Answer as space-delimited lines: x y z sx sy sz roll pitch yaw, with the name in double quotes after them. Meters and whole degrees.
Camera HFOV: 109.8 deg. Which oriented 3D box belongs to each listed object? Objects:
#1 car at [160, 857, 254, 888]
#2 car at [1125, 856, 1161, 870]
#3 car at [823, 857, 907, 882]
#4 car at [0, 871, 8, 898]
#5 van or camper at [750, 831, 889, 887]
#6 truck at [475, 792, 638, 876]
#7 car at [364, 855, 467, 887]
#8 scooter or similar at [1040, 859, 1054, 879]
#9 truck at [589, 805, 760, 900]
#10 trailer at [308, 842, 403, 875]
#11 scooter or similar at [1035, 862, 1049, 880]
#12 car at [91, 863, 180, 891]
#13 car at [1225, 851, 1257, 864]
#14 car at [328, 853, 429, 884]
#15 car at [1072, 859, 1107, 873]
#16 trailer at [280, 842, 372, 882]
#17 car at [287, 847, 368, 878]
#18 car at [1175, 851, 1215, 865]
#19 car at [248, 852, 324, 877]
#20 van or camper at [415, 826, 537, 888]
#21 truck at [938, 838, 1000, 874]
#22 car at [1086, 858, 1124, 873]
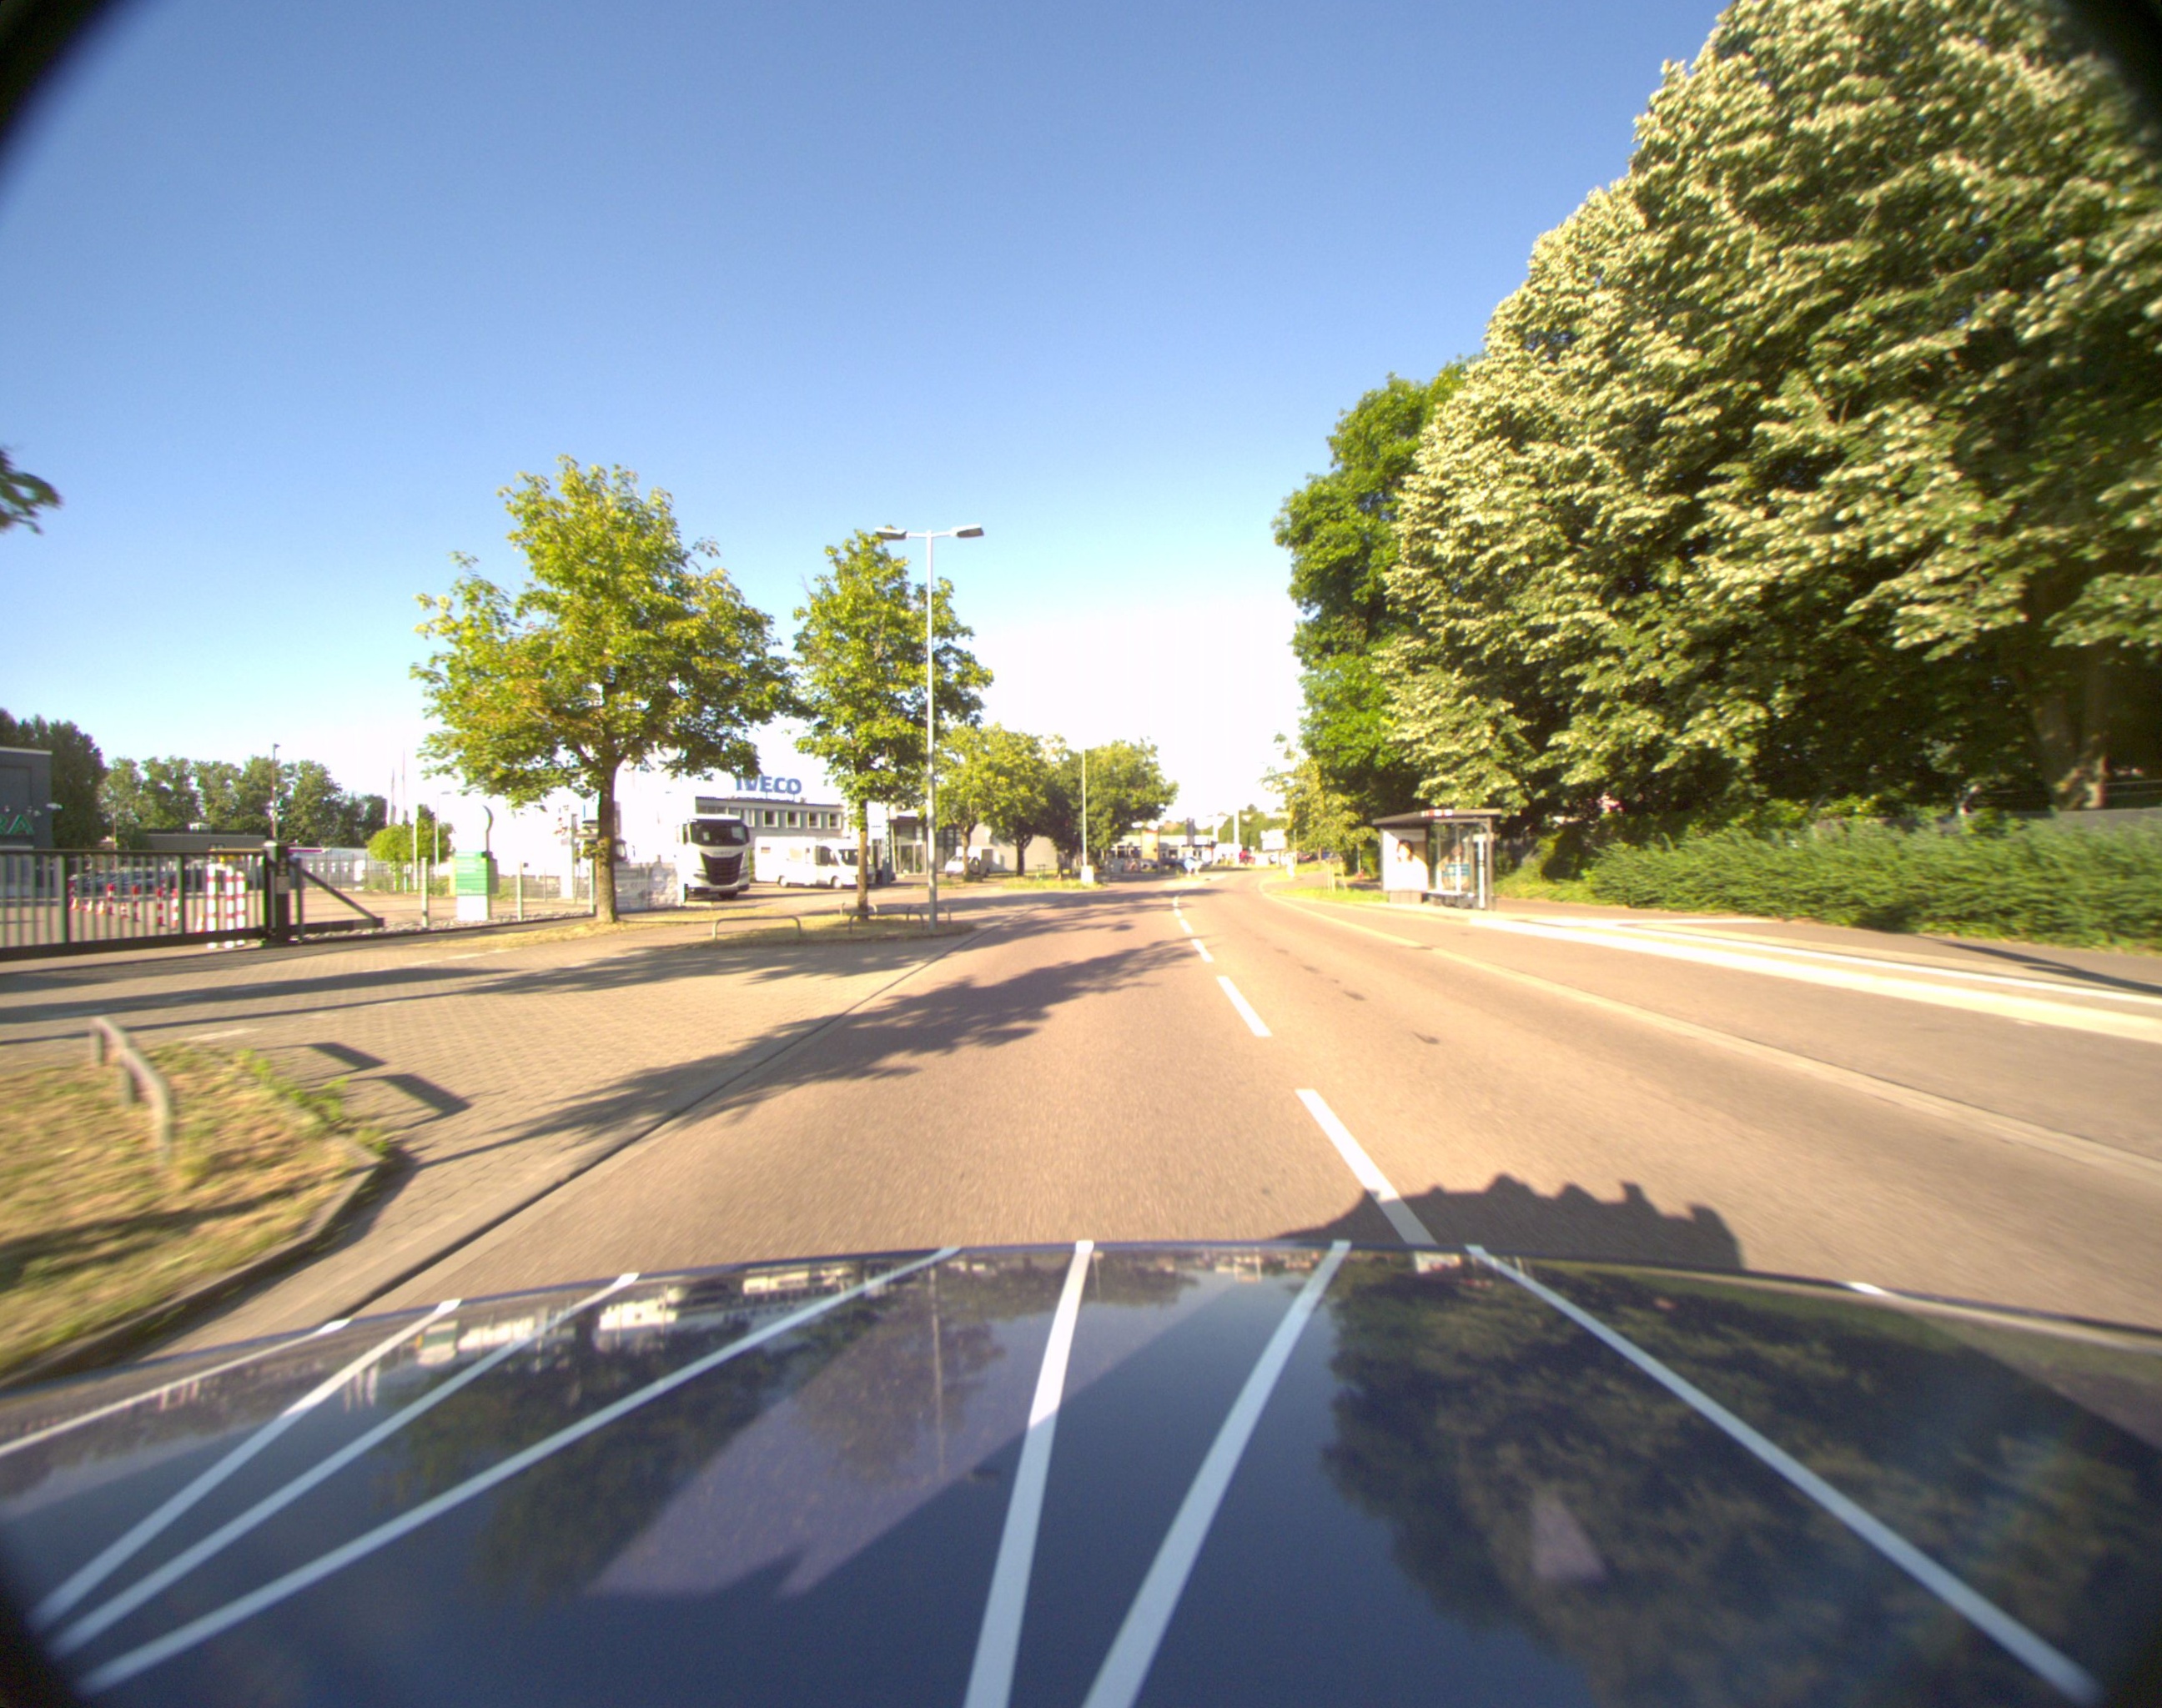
-60.556 1.254 52.708 1.994 2.002 4.008 0 0 32 "car"
9.011 1.275 110.565 4.833 2.002 2.305 -1 0 40 "car"
-13.550 0.958 47.927 4.813 1.483 1.999 0 0 -8 "car"
-82.430 2.283 55.821 1.994 2.002 4.008 0 0 32 "car"
-14.657 0.289 42.360 7.989 2.883 2.948 0 0 32 "van or camper"
-25.640 -0.824 36.873 10.090 3.623 3.302 0 0 36 "truck"
-46.915 1.155 53.709 1.995 2.001 5.061 -4 -1 31 "car"
-2.365 1.031 53.183 0.547 1.328 1.483 0 0 15 "scooter or similar"
-17.119 -0.023 31.727 8.230 3.501 3.122 0 0 37 "truck"
-55.492 0.329 58.198 1.994 2.422 4.868 0 0 32 "trailer"
-2.659 1.125 51.705 0.547 1.189 1.483 -1 0 15 "scooter or similar"
-71.610 1.713 57.617 1.994 2.002 4.008 0 0 32 "car"
25.955 0.541 123.346 2.304 2.002 4.835 -1 0 -34 "car"
-51.846 1.039 56.166 1.995 2.001 5.061 -4 -1 31 "car"
1.261 1.723 113.166 4.833 2.002 2.305 -1 0 45 "car"
-60.309 0.637 60.786 1.994 3.051 4.868 0 0 32 "trailer"
-57.988 0.645 58.516 2.083 2.264 4.008 0 0 32 "car"
16.679 0.561 111.289 5.275 2.002 2.410 -1 0 40 "car"
-65.896 0.828 63.021 1.994 2.002 4.008 0 0 32 "car"
-35.135 0.191 44.026 8.117 3.309 2.419 0 0 28 "van or camper"
-8.859 0.151 60.757 2.541 2.704 5.980 -1 0 18 "truck"
3.294 1.585 105.579 4.833 2.002 2.305 -1 0 39 "car"
